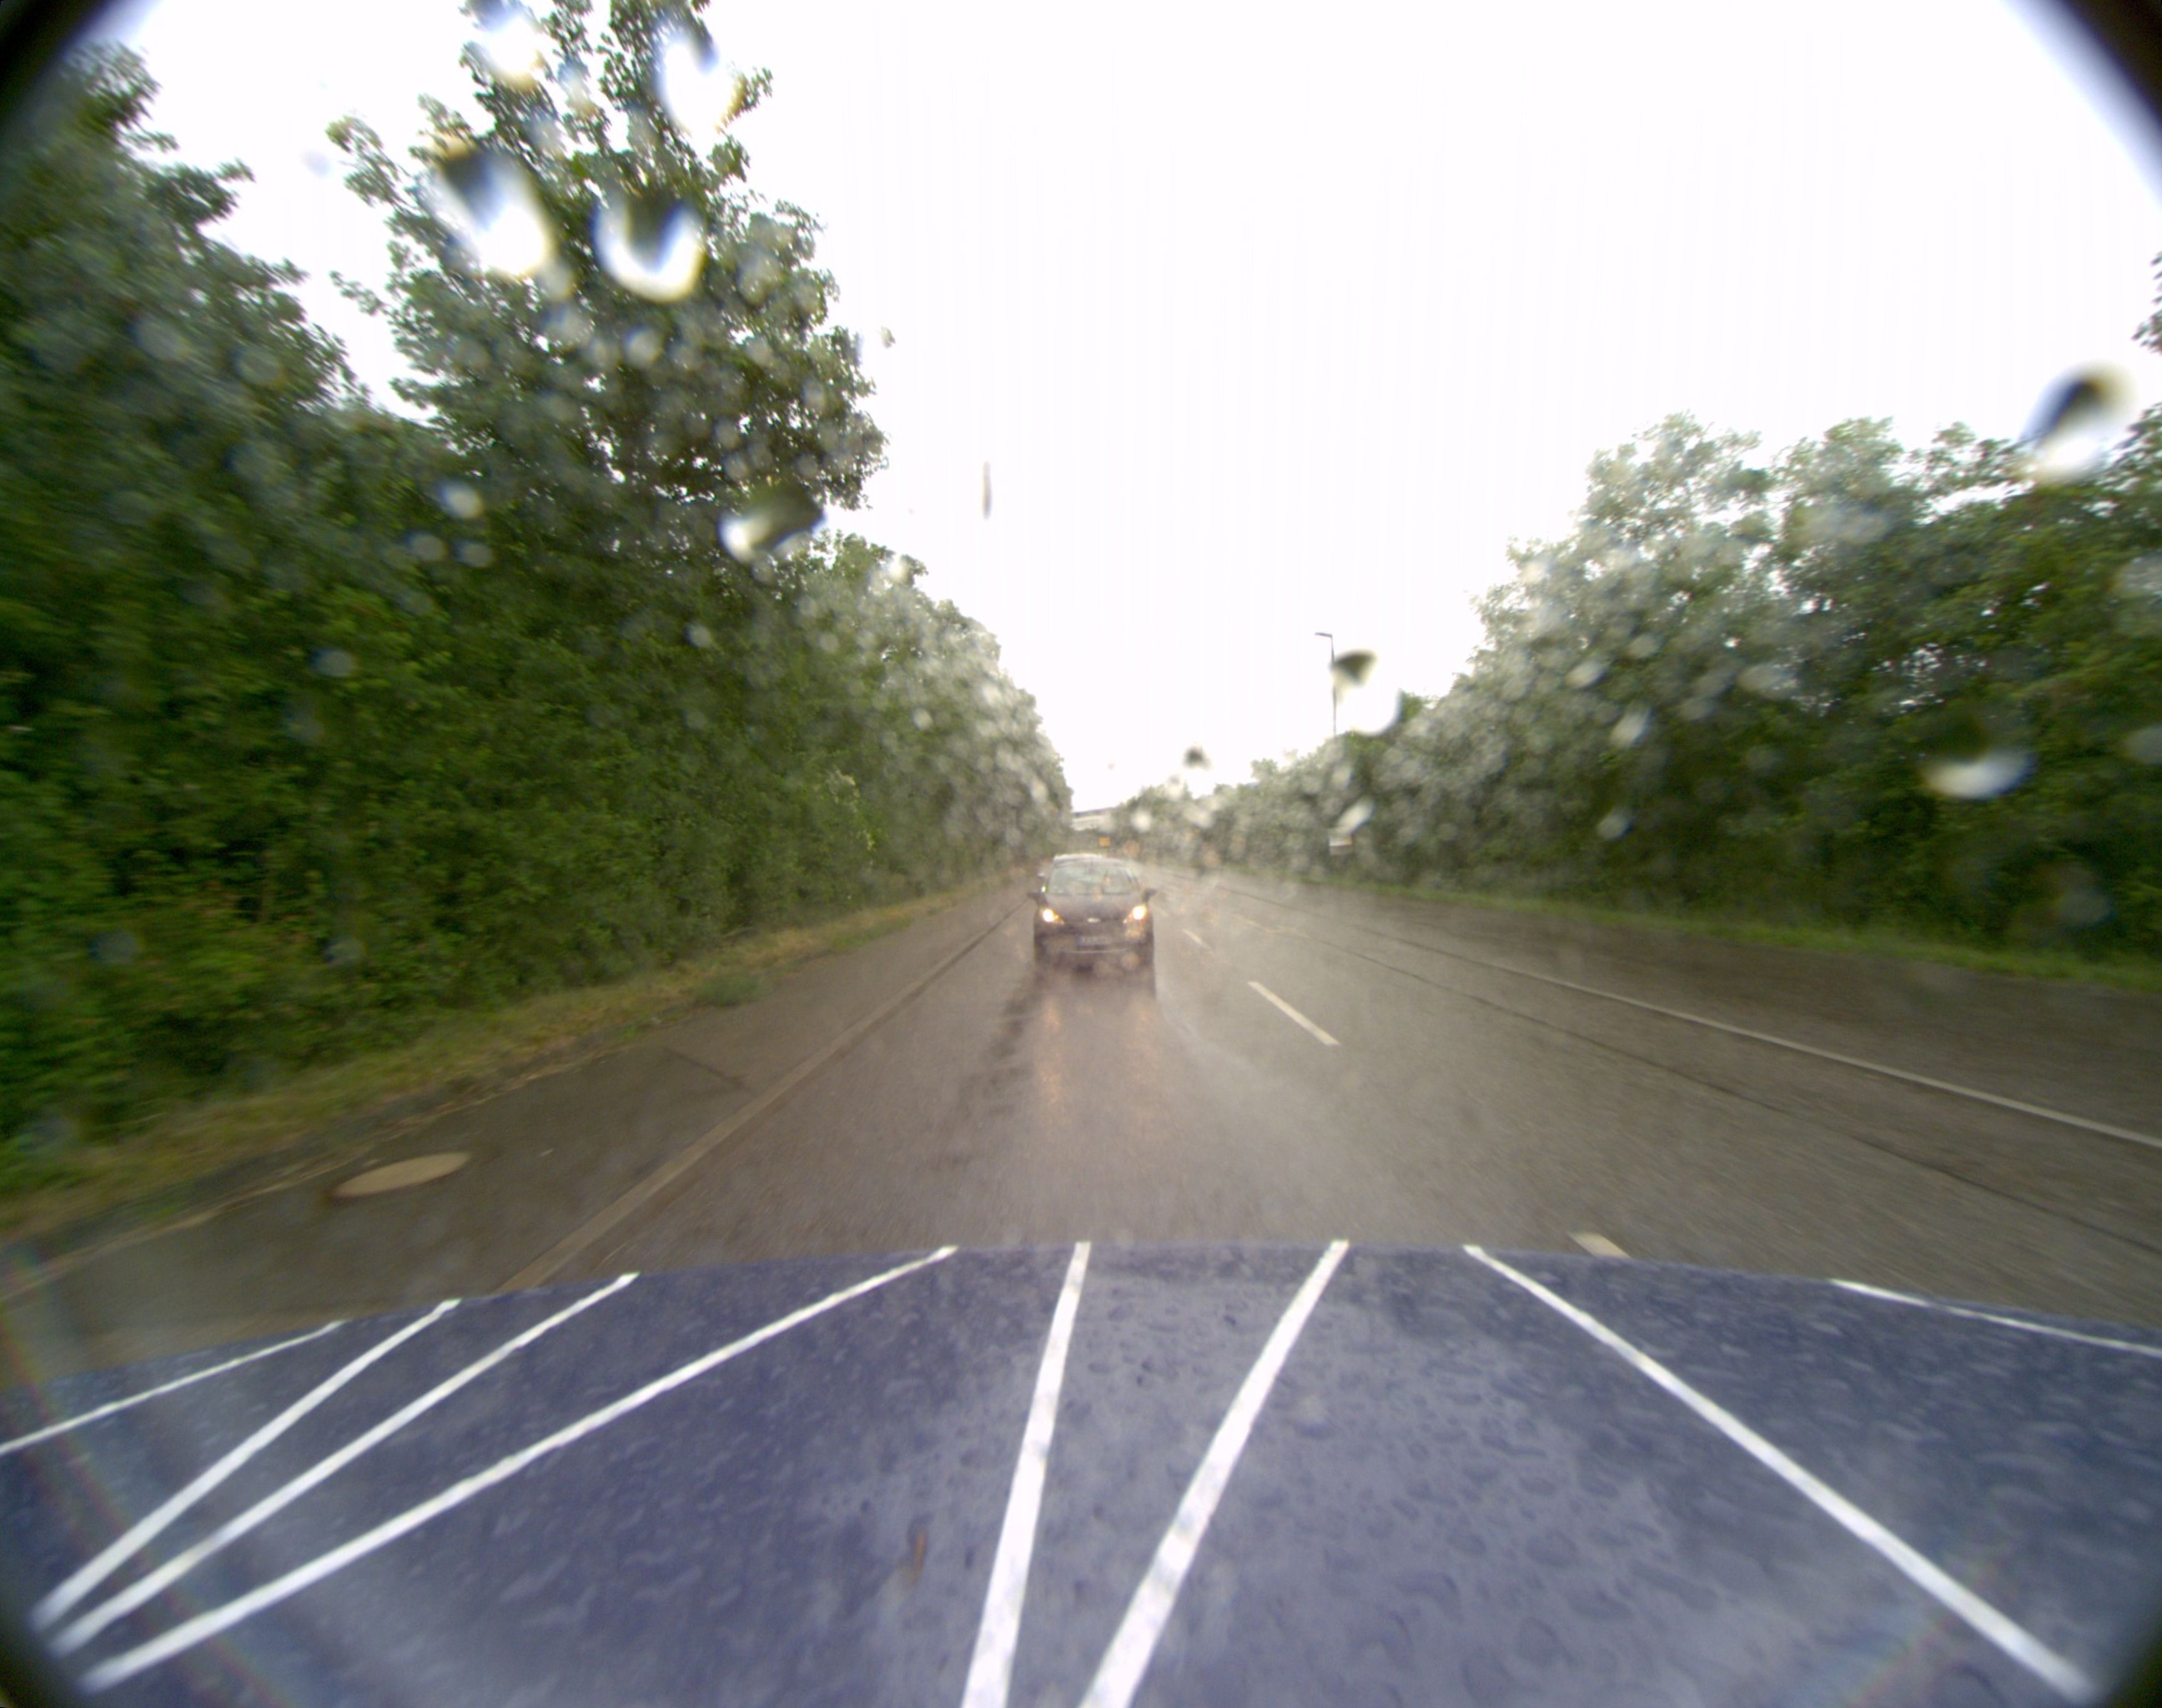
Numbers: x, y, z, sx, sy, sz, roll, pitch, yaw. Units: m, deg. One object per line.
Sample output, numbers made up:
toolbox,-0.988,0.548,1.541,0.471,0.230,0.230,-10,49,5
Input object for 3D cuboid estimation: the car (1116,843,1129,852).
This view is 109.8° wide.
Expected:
car,7.198,-1.123,133.017,1.999,1.576,3.998,-1,1,-1

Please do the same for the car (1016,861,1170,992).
car,0.169,0.901,11.399,1.839,1.404,4.341,-1,1,1

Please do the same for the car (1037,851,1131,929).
car,0.086,0.775,18.565,1.998,1.576,3.999,-1,1,1
